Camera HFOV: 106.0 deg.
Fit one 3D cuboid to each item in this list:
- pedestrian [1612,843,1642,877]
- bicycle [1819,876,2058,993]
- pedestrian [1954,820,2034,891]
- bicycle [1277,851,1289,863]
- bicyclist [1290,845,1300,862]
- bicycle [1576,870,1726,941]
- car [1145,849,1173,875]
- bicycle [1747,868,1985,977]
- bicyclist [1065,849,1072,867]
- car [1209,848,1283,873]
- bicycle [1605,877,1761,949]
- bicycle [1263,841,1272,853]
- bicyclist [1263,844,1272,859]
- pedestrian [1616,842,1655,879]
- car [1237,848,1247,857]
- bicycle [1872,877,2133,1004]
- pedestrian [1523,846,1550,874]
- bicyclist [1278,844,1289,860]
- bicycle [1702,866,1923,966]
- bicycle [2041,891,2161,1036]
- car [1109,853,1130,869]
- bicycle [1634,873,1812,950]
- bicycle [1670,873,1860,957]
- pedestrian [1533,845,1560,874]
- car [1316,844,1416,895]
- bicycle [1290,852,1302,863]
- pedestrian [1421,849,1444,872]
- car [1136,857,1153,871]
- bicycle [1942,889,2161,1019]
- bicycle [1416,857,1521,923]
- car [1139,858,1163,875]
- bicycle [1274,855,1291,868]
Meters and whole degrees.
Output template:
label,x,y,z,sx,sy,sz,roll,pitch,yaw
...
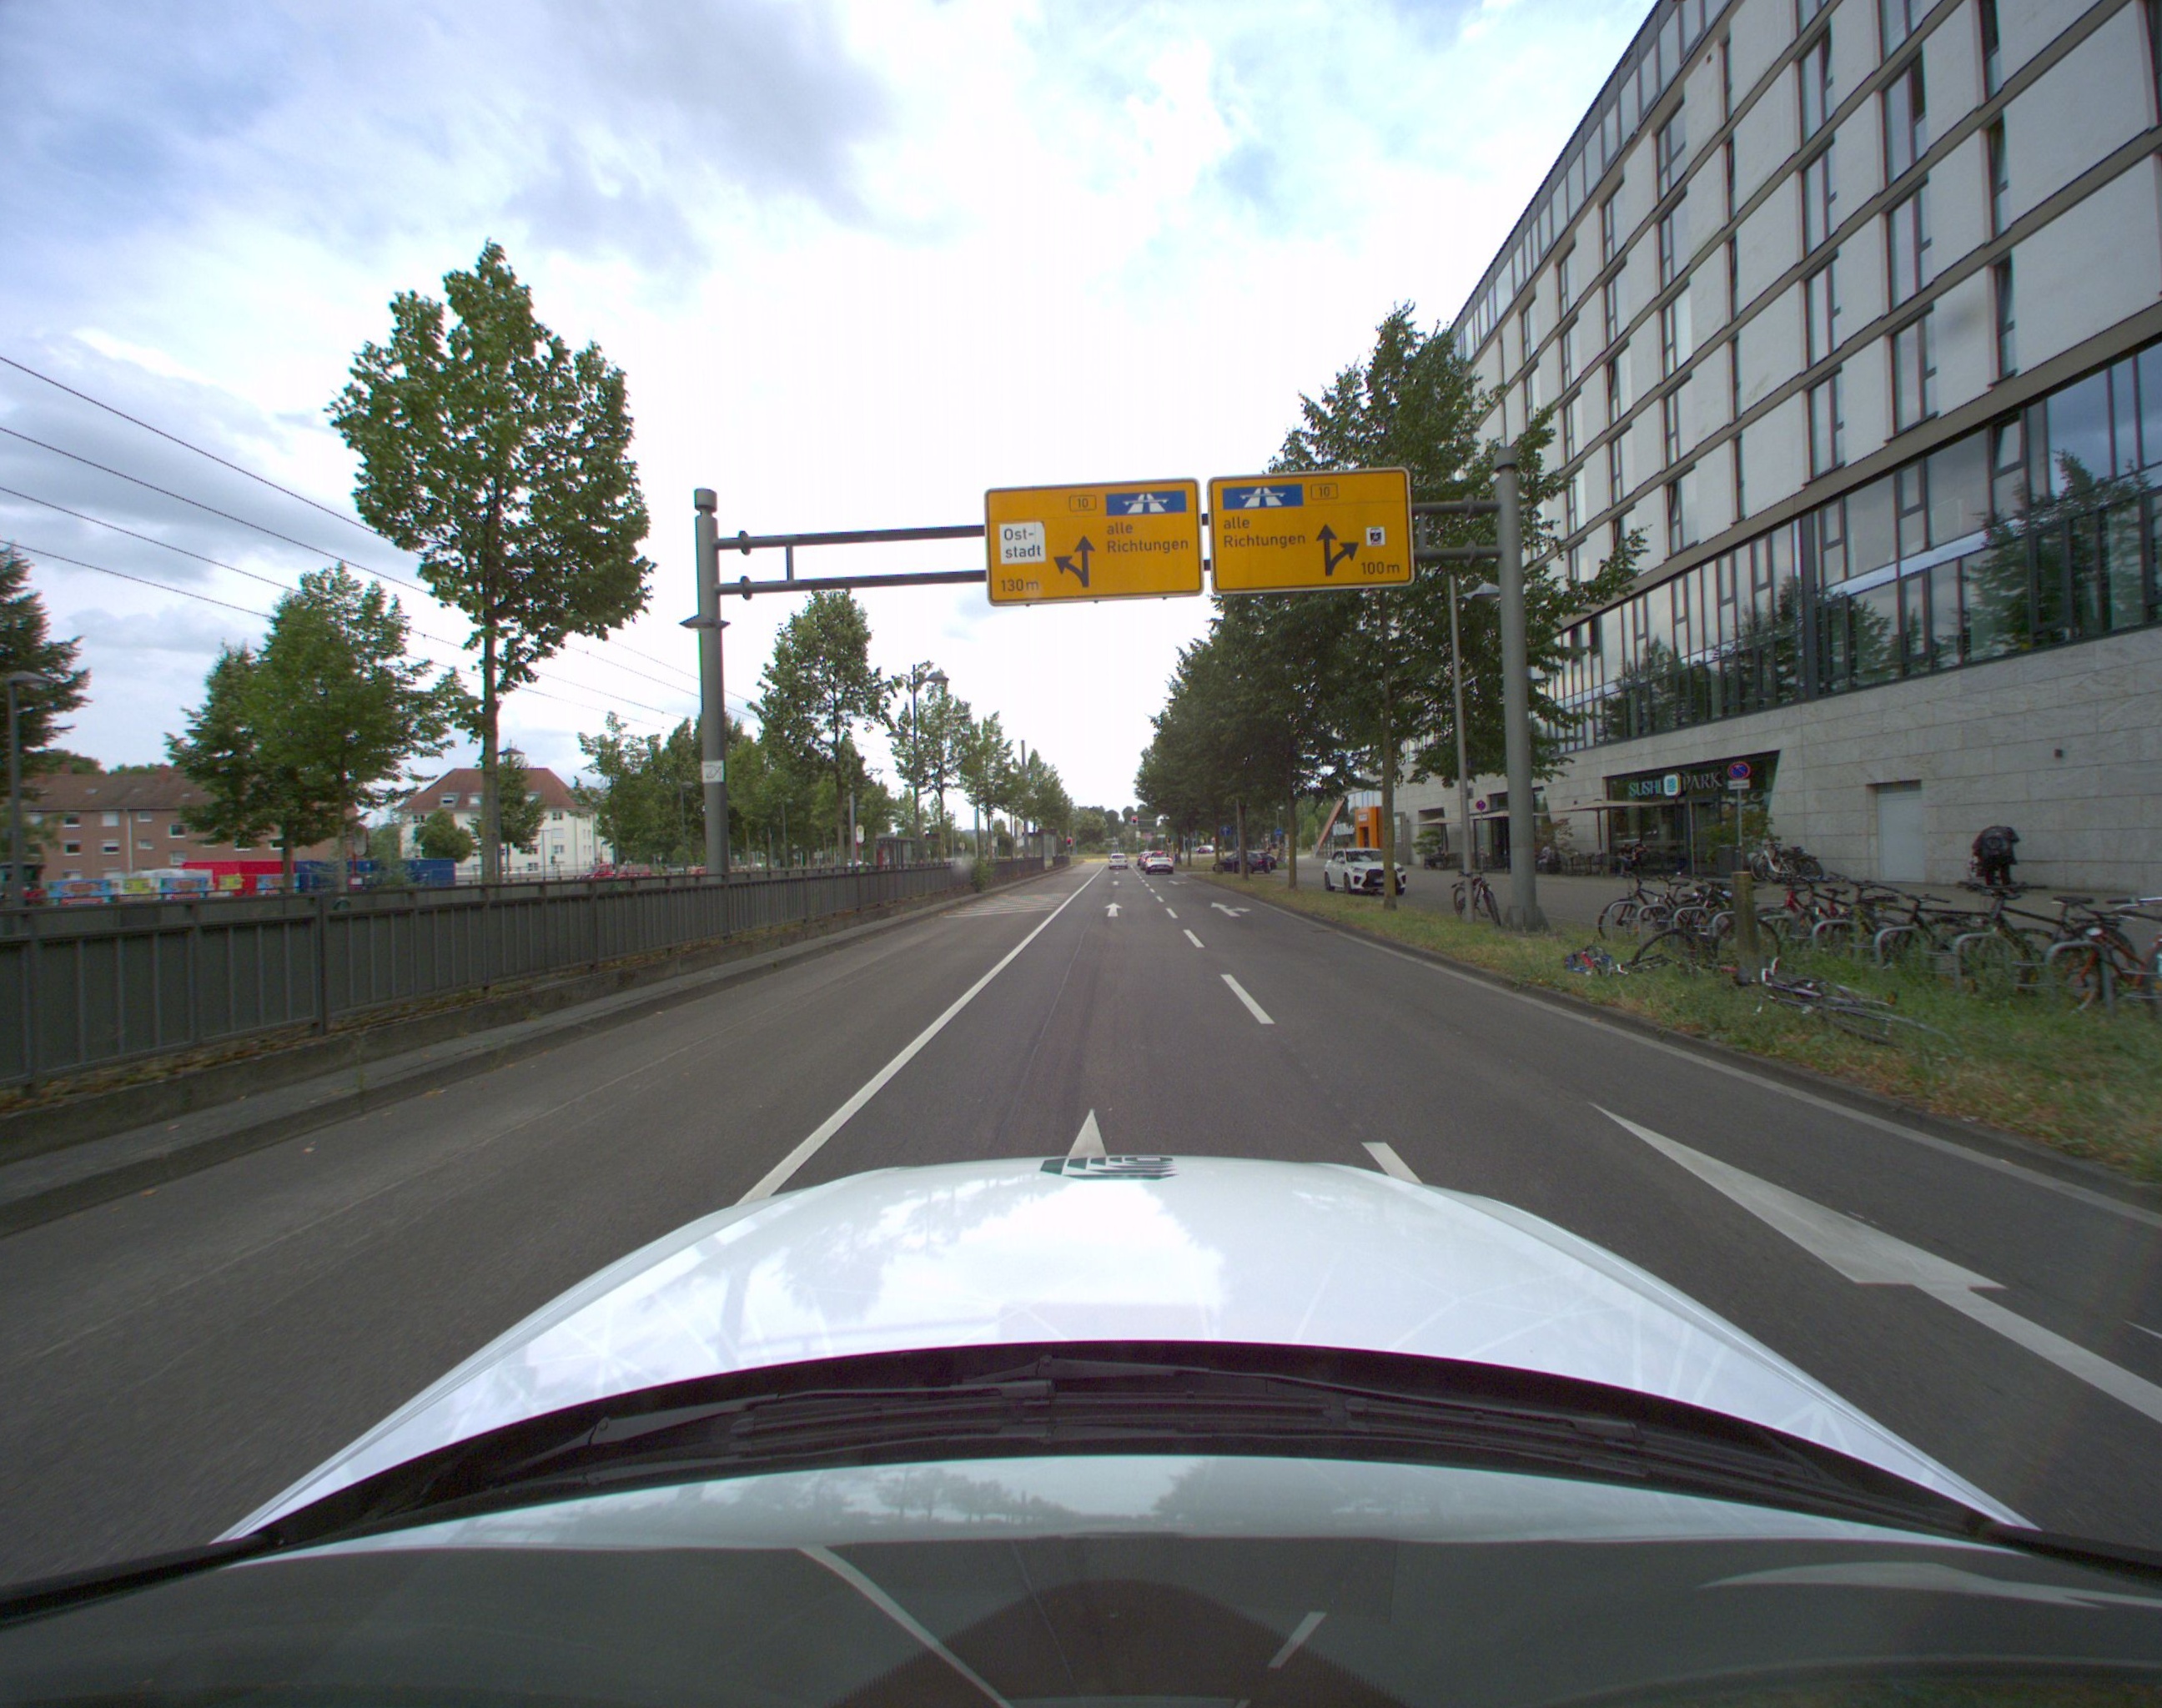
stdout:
label,x,y,z,sx,sy,sz,roll,pitch,yaw
pedestrian,19.298,0.208,28.811,0.712,1.192,0.763,-2,-1,24
bicycle,8.265,0.764,7.871,1.927,1.065,0.542,1,0,-7
pedestrian,18.627,0.030,16.634,0.752,1.407,0.723,-2,-1,10
bicycle,19.664,0.295,79.248,0.670,1.143,2.008,-2,0,3
bicyclist,20.820,-0.038,79.234,0.721,1.582,0.990,-2,0,3
bicycle,8.519,0.767,12.208,1.855,0.995,0.574,1,0,-1
car,5.498,0.551,57.618,1.771,1.656,4.026,-2,0,3
bicycle,8.254,0.707,8.604,1.924,1.065,0.641,1,0,-1
bicyclist,-1.373,0.473,92.027,0.726,1.883,0.735,-2,11,1
car,10.887,0.444,54.001,1.954,1.475,4.821,-2,-1,-32
bicycle,8.514,0.829,11.540,1.855,0.951,0.501,1,0,-1
bicycle,23.357,-0.852,101.807,0.702,1.505,2.008,-2,0,2
bicyclist,23.346,-0.319,101.804,0.863,1.789,1.175,-2,0,2
pedestrian,18.687,0.216,27.476,0.766,1.192,1.111,-2,0,17
car,30.718,-0.306,155.021,1.771,1.636,4.417,-2,0,13
bicycle,8.228,0.758,7.293,1.927,1.065,0.542,1,0,-7
pedestrian,19.771,0.260,35.366,0.716,1.192,0.759,-2,0,2
bicyclist,19.658,-0.173,79.085,0.722,1.582,0.990,-2,-1,2
bicycle,8.363,0.694,9.361,1.924,1.065,0.705,1,0,-1
bicycle,8.239,0.788,6.024,1.741,0.974,0.608,1,0,-6
car,3.609,0.620,77.014,1.767,1.448,3.911,-2,0,1
bicycle,8.473,0.749,10.792,1.855,0.951,0.652,1,0,-1
bicycle,8.406,0.738,10.052,1.855,0.951,0.612,1,0,-1
pedestrian,19.720,0.250,34.515,0.715,1.192,0.760,-2,0,4
car,9.704,0.488,28.162,1.931,1.552,4.595,-2,0,2
bicycle,20.845,0.309,79.070,0.670,1.042,2.008,-2,0,3
pedestrian,19.088,0.348,44.205,0.893,1.228,0.952,-2,0,7
car,6.822,1.022,88.092,1.619,1.448,3.911,-1,0,1
bicycle,8.142,0.795,6.648,1.741,0.974,0.608,1,0,-6
bicycle,7.072,0.613,15.005,0.709,1.115,2.199,1,0,-5
car,6.160,1.064,72.194,1.781,1.432,4.311,-2,0,1
bicycle,15.455,0.560,62.488,0.628,0.956,2.106,-2,0,-2
